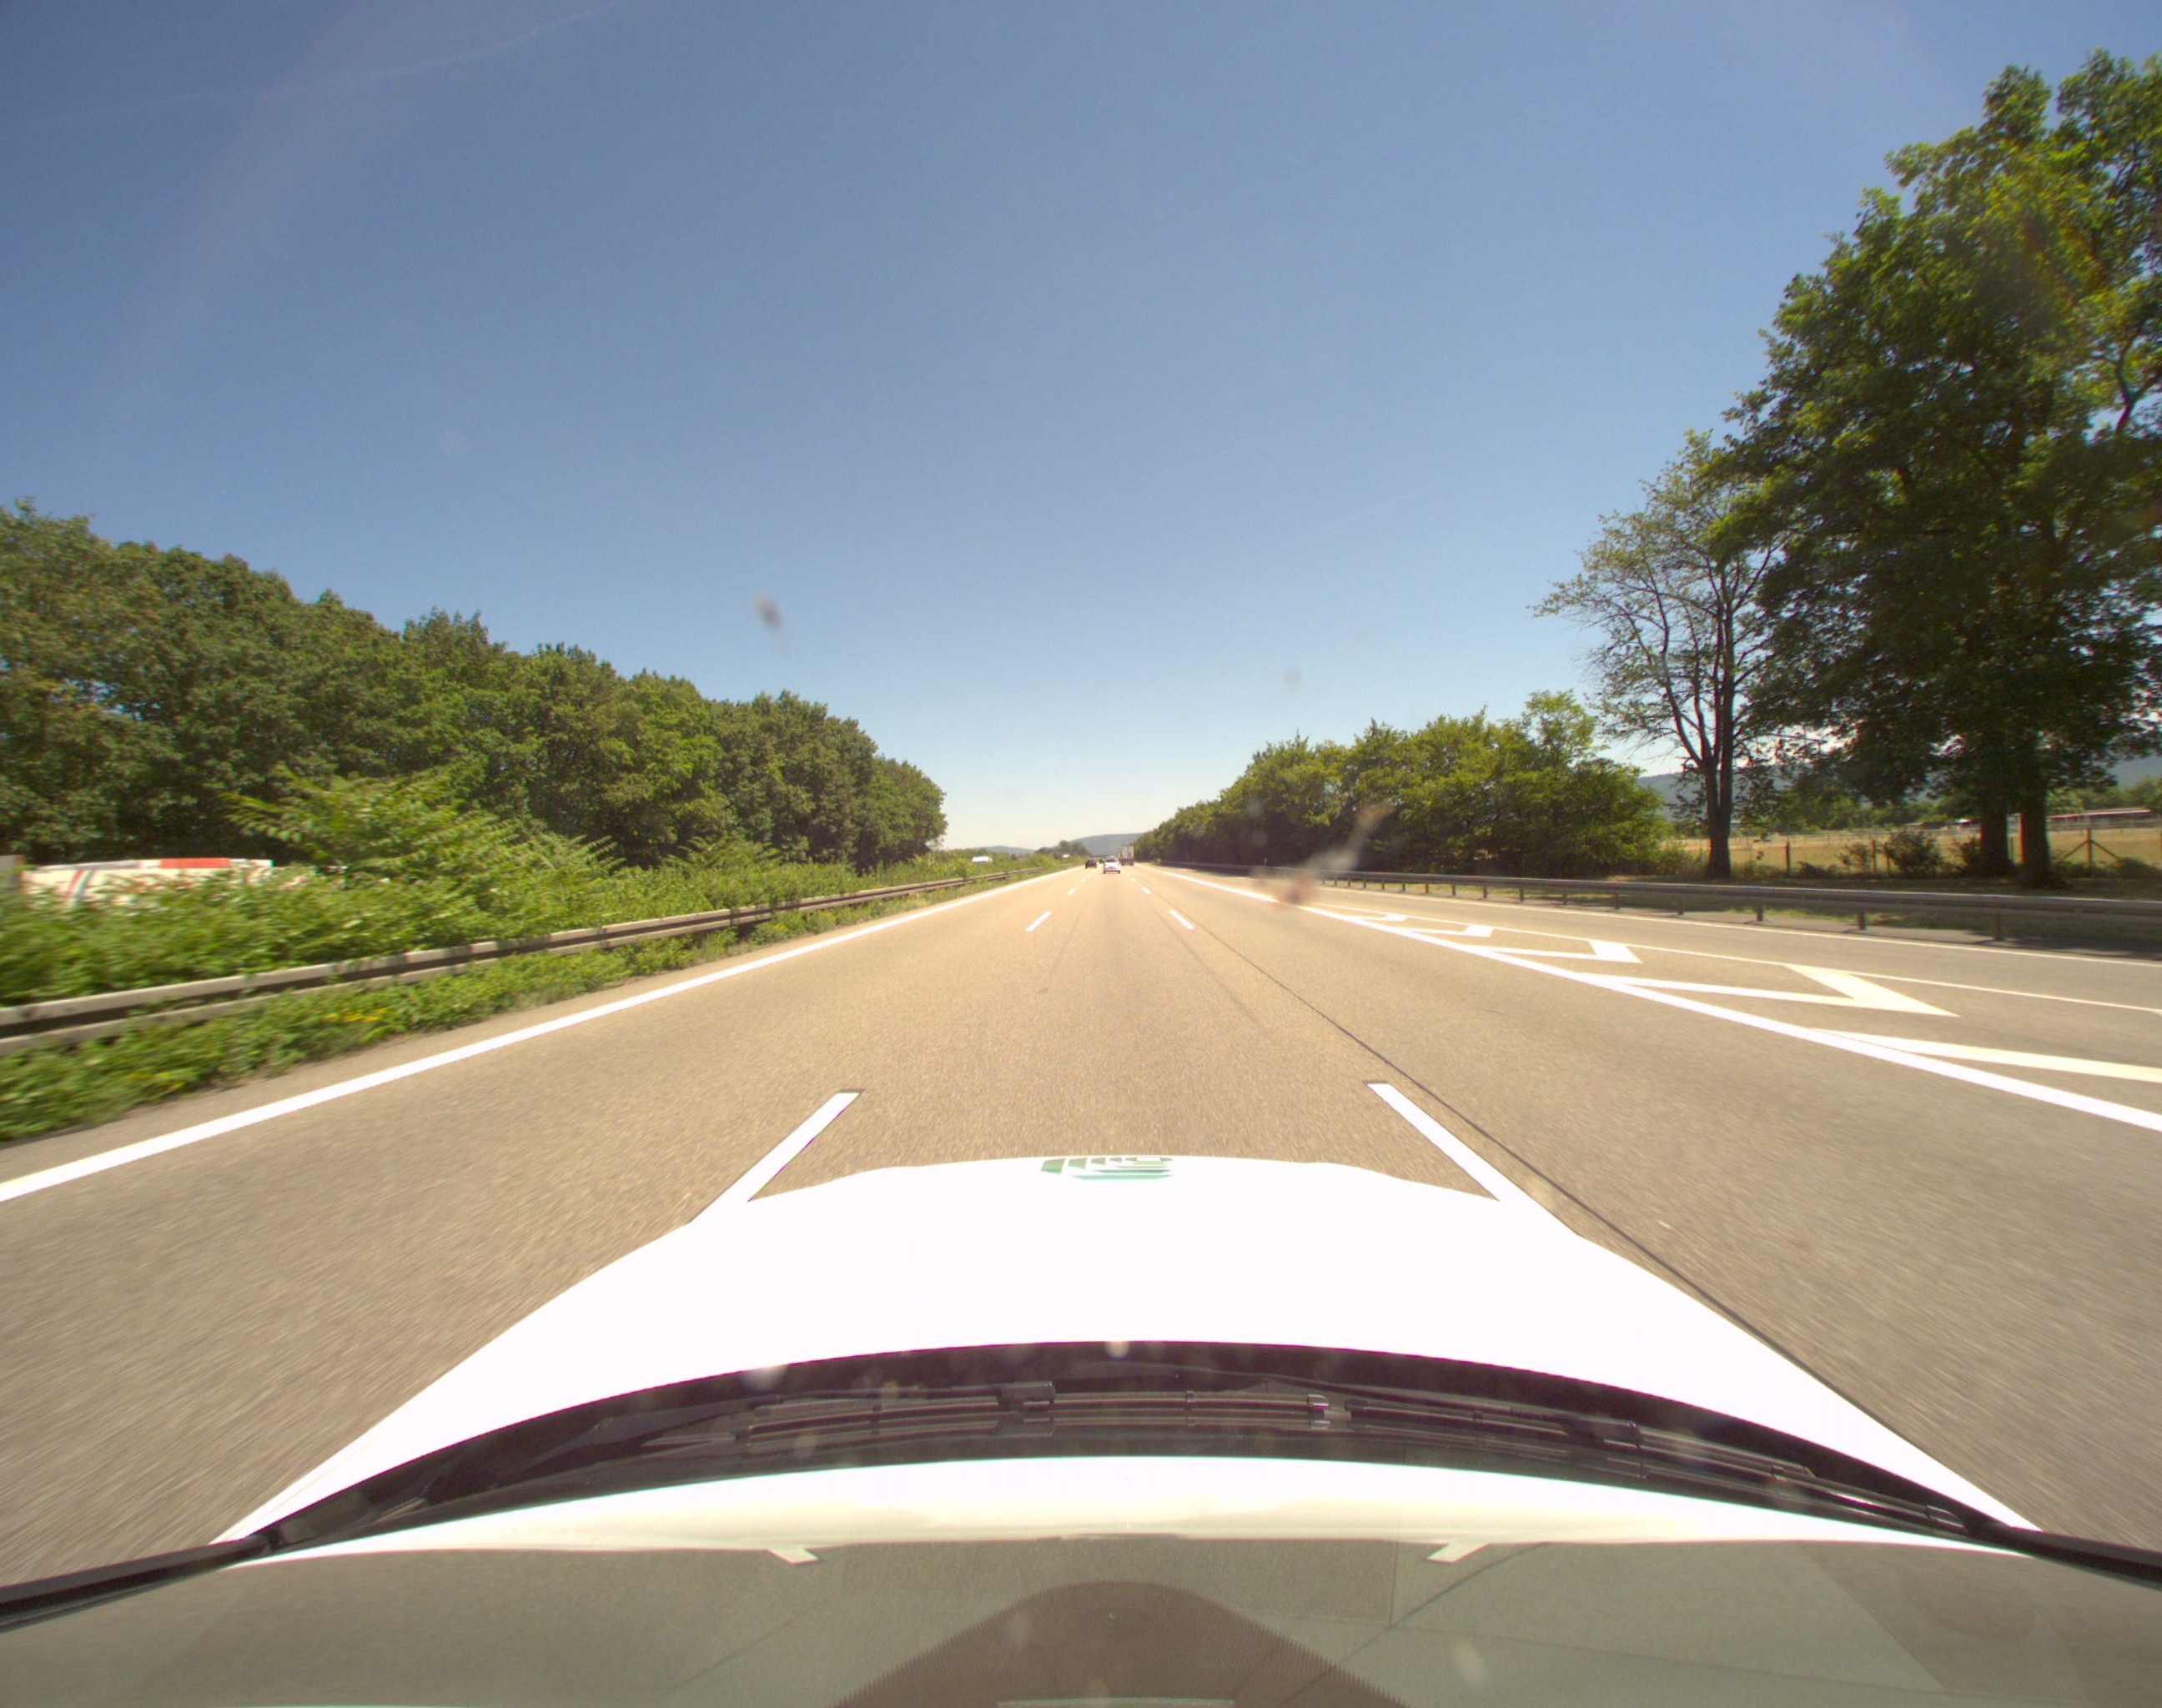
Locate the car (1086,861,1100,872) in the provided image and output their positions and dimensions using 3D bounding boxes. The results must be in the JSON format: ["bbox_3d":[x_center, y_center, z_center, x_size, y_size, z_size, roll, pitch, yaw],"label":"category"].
[{"bbox_3d":[1.865,1.883,126.154,1.986,1.712,4.001,0,-1,1],"label":"car"}]

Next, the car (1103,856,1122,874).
[{"bbox_3d":[3.141,1.054,81.491,1.726,1.684,4.001,-2,0,1],"label":"car"}]

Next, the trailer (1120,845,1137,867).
[{"bbox_3d":[9.894,0.360,168.736,3.203,4.345,13.645,0,0,5],"label":"trailer"}]

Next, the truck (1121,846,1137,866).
[{"bbox_3d":[10.447,0.411,175.778,3.203,4.345,6.598,0,-1,4],"label":"truck"}]

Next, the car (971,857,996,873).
[{"bbox_3d":[-12.550,1.371,105.025,2.138,2.054,6.636,0,0,2],"label":"car"}]

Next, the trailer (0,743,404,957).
[{"bbox_3d":[-19.674,-0.053,13.446,3.185,3.580,15.975,0,0,2],"label":"trailer"}]
